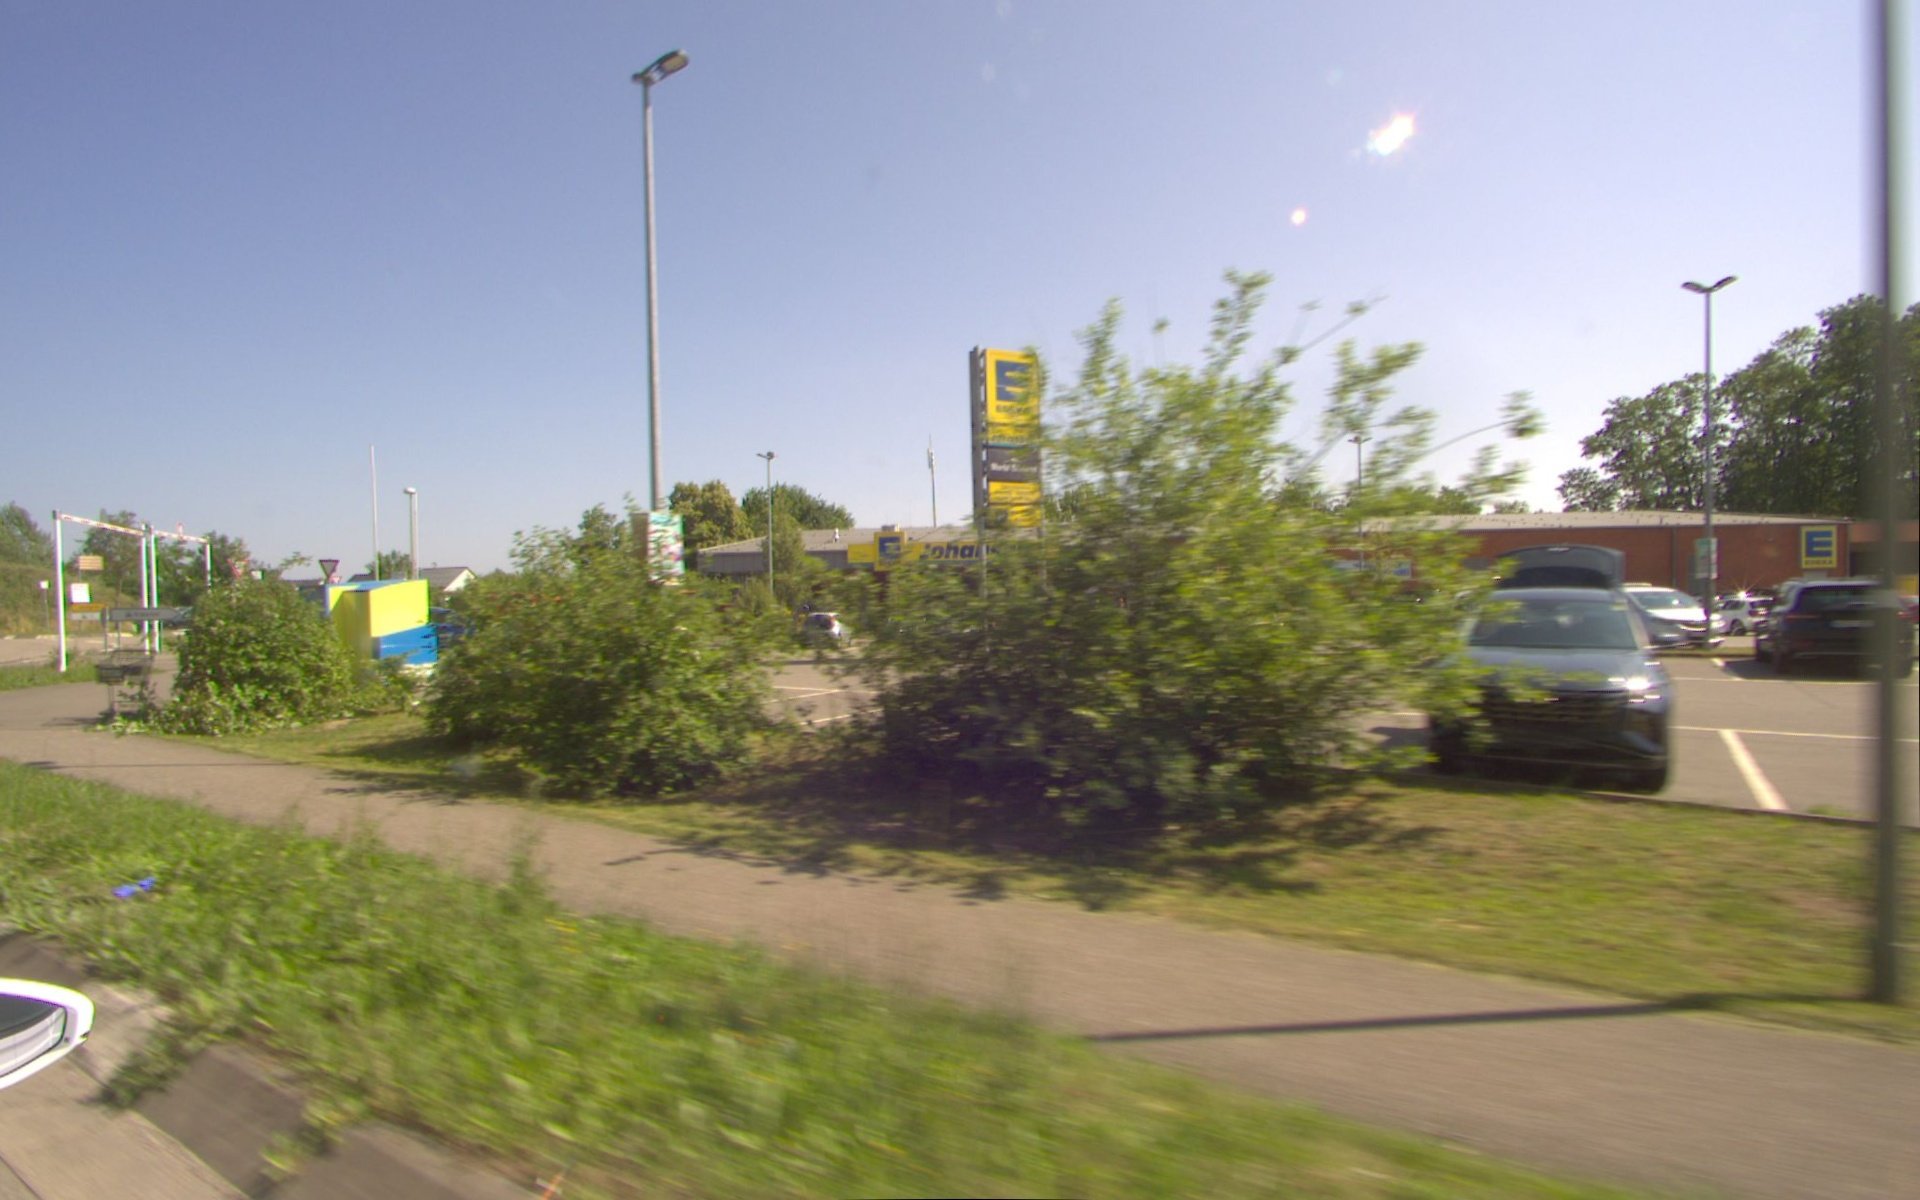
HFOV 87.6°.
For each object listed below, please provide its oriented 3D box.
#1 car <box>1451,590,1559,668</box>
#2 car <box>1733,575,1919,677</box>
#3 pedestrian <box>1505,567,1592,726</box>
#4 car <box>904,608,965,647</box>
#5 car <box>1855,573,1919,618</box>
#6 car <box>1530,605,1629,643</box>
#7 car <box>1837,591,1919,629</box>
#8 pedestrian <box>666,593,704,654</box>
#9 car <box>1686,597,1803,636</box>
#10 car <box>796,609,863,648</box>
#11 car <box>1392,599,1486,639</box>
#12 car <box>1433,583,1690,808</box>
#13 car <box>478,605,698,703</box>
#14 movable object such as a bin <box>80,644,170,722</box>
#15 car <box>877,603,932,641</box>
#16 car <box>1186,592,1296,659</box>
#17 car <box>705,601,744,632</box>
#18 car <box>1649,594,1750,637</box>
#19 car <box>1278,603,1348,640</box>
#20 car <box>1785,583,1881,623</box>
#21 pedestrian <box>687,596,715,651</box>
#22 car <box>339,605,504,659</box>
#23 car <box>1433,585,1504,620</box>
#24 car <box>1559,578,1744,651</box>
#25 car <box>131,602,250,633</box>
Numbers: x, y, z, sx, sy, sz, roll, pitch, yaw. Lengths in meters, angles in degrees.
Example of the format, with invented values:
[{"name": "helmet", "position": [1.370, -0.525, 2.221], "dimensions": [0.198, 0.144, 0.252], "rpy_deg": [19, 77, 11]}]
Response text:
[{"name": "car", "position": [11.366, 0.537, 20.769], "dimensions": [1.628, 1.461, 3.976], "rpy_deg": [0, 0, 34]}, {"name": "car", "position": [15.372, 0.421, 17.771], "dimensions": [1.969, 1.595, 4.148], "rpy_deg": [0, 0, 29]}, {"name": "pedestrian", "position": [7.038, 0.531, 11.974], "dimensions": [0.854, 1.821, 0.816], "rpy_deg": [0, 1, 34]}, {"name": "car", "position": [-0.981, 1.074, 40.479], "dimensions": [1.684, 1.517, 3.490], "rpy_deg": [0, 0, 12]}, {"name": "car", "position": [50.278, -0.218, 53.340], "dimensions": [1.961, 2.276, 4.022], "rpy_deg": [0, 0, 8]}, {"name": "car", "position": [23.989, 0.899, 38.948], "dimensions": [1.962, 1.372, 3.997], "rpy_deg": [0, 0, 10]}, {"name": "car", "position": [40.485, 0.396, 43.319], "dimensions": [1.765, 1.539, 3.999], "rpy_deg": [-1, 1, 3]}, {"name": "pedestrian", "position": [-8.233, 0.688, 29.999], "dimensions": [0.826, 1.809, 0.880], "rpy_deg": [0, 1, 9]}, {"name": "car", "position": [30.161, 0.619, 38.638], "dimensions": [1.855, 1.416, 3.998], "rpy_deg": [-1, 0, 10]}, {"name": "car", "position": [-5.337, 1.138, 41.287], "dimensions": [1.684, 1.477, 3.490], "rpy_deg": [0, 0, 12]}, {"name": "car", "position": [18.692, 0.710, 39.286], "dimensions": [1.930, 1.506, 3.999], "rpy_deg": [0, 0, 3]}, {"name": "car", "position": [5.756, 0.684, 9.640], "dimensions": [1.727, 1.649, 4.110], "rpy_deg": [0, 1, 32]}, {"name": "car", "position": [-6.950, 0.929, 19.034], "dimensions": [1.787, 1.583, 3.587], "rpy_deg": [0, 1, 30]}, {"name": "movable object such as a bin", "position": [-13.358, 1.297, 16.058], "dimensions": [0.858, 1.135, 1.447], "rpy_deg": [0, 0, -30]}, {"name": "car", "position": [-2.482, 0.974, 45.832], "dimensions": [1.876, 1.644, 3.999], "rpy_deg": [0, 0, 7]}, {"name": "car", "position": [7.329, 0.628, 26.500], "dimensions": [1.629, 1.609, 3.999], "rpy_deg": [0, 0, -3]}, {"name": "car", "position": [-12.976, 0.910, 55.185], "dimensions": [1.793, 1.657, 1.130], "rpy_deg": [0, 0, 6]}, {"name": "car", "position": [32.356, 0.668, 43.951], "dimensions": [1.770, 1.781, 3.999], "rpy_deg": [-1, 0, 6]}, {"name": "car", "position": [14.189, 0.846, 40.424], "dimensions": [1.682, 1.416, 3.999], "rpy_deg": [0, 0, 4]}, {"name": "car", "position": [46.330, 0.146, 53.277], "dimensions": [1.961, 2.040, 3.998], "rpy_deg": [0, 0, 8]}, {"name": "pedestrian", "position": [-8.007, 0.724, 30.960], "dimensions": [0.585, 1.670, 0.703], "rpy_deg": [0, 1, 13]}, {"name": "car", "position": [-16.653, 0.951, 31.210], "dimensions": [4.355, 1.592, 1.711], "rpy_deg": [0, 0, -22]}, {"name": "car", "position": [28.047, 0.141, 55.377], "dimensions": [1.961, 1.840, 3.999], "rpy_deg": [-1, 0, 2]}, {"name": "car", "position": [17.871, 0.430, 26.198], "dimensions": [1.961, 1.723, 4.562], "rpy_deg": [0, -2, 5]}, {"name": "car", "position": [-41.560, 0.928, 54.221], "dimensions": [1.966, 1.613, 4.762], "rpy_deg": [0, 0, 22]}]
